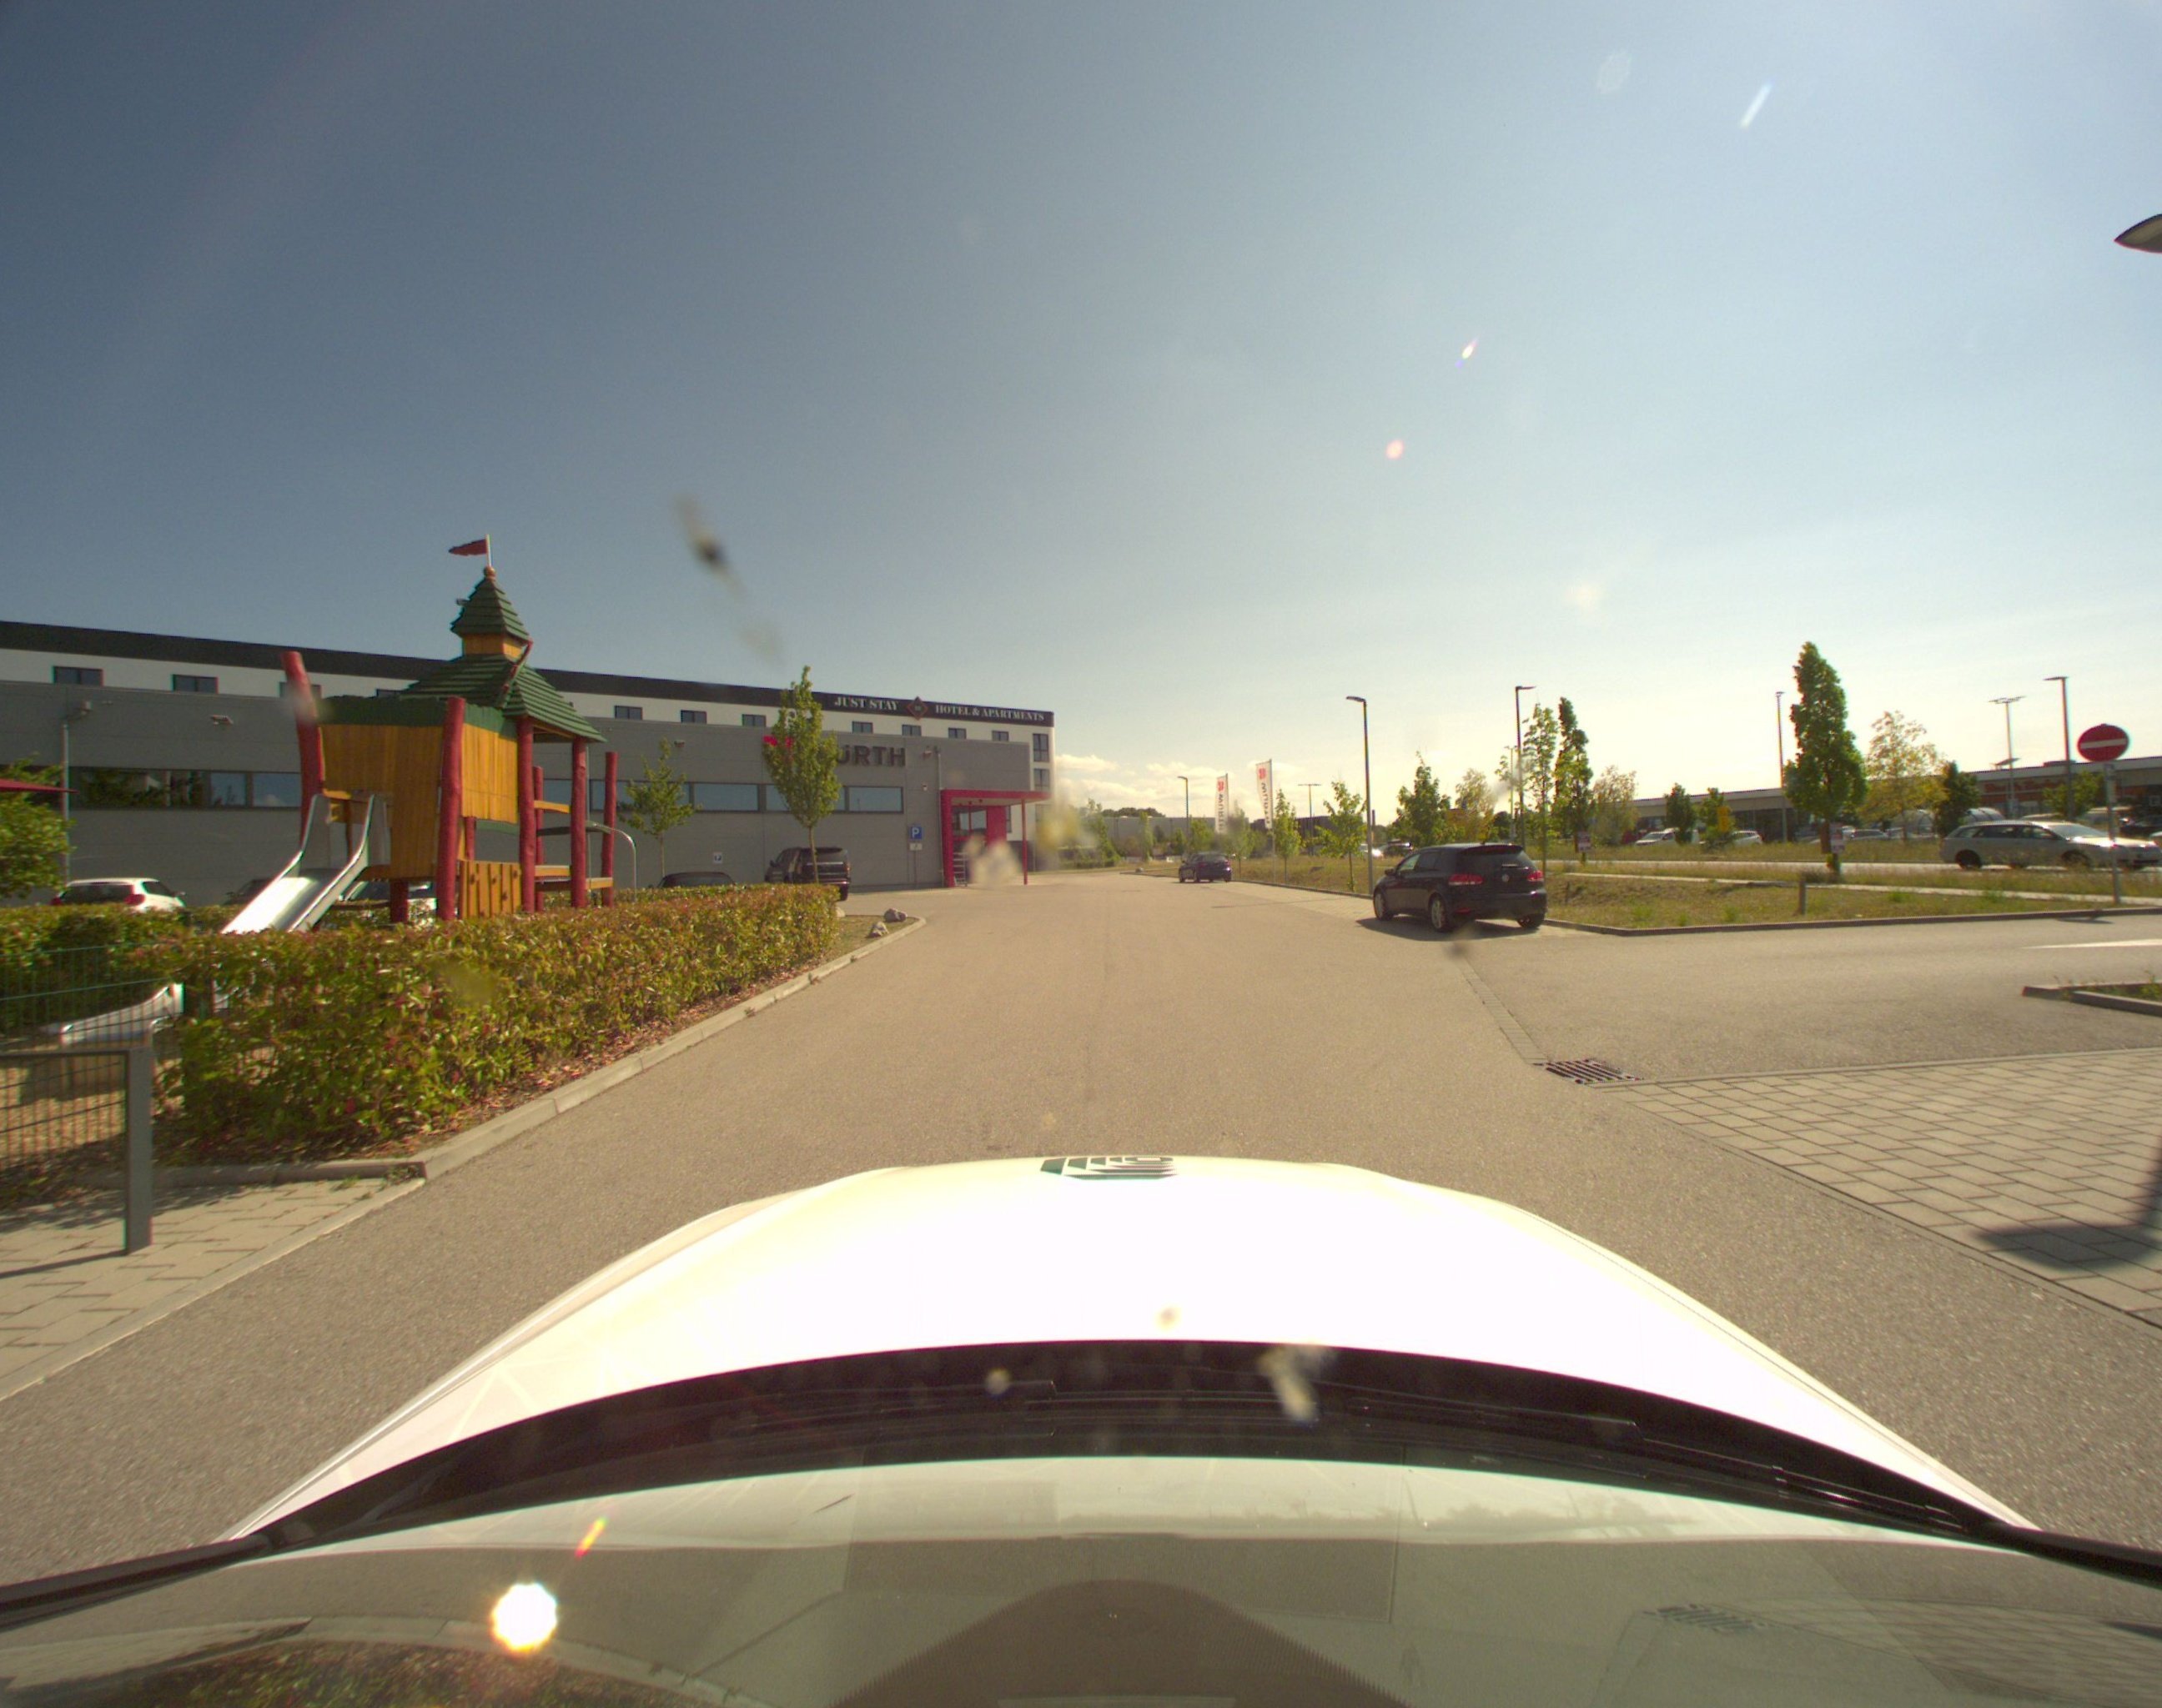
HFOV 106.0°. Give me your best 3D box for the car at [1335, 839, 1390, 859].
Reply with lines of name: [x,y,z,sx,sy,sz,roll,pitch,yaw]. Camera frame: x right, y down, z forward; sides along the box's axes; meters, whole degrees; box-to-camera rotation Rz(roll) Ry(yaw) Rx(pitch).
car: [21.764,-0.384,63.040,1.880,1.483,3.972,-2,0,-21]

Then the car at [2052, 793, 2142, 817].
car: [67.468,-3.227,54.142,1.430,1.400,3.466,-2,0,-16]

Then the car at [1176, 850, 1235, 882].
car: [5.974,0.561,39.398,1.698,1.406,3.884,-1,0,-9]

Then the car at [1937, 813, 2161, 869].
car: [28.635,-0.376,23.991,1.868,1.483,4.599,-2,0,-2]

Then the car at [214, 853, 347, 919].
car: [-21.973,0.818,22.532,1.893,1.586,4.065,-2,1,-34]

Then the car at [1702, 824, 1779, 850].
car: [48.226,-1.239,59.550,4.410,1.726,1.993,-2,0,-11]

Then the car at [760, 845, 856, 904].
car: [-9.900,0.685,29.318,2.086,1.880,4.828,-2,1,-33]

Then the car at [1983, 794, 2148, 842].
car: [51.449,-1.851,42.628,6.292,2.237,2.807,-2,0,-10]

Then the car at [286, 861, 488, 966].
car: [-12.303,0.933,14.788,1.960,1.530,4.335,-2,1,-30]

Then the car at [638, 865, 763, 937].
car: [-8.760,0.964,18.543,1.876,1.362,4.330,-2,1,-34]

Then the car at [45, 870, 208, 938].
car: [-24.533,1.218,21.111,1.744,1.487,3.909,-2,1,-34]

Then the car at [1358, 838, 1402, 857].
car: [27.999,-0.605,76.187,3.670,1.597,1.702,-2,0,-23]

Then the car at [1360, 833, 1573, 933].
car: [6.880,0.460,15.095,1.831,1.477,4.117,-3,0,-2]

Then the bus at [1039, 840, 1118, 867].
bus: [-0.423,-0.051,117.760,11.186,3.557,2.573,-2,0,-3]

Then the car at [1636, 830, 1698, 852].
car: [46.073,-1.033,64.071,3.650,1.618,1.838,-2,0,-4]

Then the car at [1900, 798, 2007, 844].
car: [50.262,-1.902,46.923,5.067,2.455,1.991,-2,0,-14]

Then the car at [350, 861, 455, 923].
car: [-20.081,1.050,24.270,1.962,1.586,4.330,-2,1,-34]

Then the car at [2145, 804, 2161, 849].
car: [51.666,-1.332,37.089,5.169,2.013,1.991,-2,0,-14]

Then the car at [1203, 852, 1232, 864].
car: [15.908,0.476,95.119,1.655,1.385,3.483,-2,0,-25]

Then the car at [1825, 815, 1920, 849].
car: [50.706,-1.430,52.177,5.067,2.013,1.991,-2,0,-14]
